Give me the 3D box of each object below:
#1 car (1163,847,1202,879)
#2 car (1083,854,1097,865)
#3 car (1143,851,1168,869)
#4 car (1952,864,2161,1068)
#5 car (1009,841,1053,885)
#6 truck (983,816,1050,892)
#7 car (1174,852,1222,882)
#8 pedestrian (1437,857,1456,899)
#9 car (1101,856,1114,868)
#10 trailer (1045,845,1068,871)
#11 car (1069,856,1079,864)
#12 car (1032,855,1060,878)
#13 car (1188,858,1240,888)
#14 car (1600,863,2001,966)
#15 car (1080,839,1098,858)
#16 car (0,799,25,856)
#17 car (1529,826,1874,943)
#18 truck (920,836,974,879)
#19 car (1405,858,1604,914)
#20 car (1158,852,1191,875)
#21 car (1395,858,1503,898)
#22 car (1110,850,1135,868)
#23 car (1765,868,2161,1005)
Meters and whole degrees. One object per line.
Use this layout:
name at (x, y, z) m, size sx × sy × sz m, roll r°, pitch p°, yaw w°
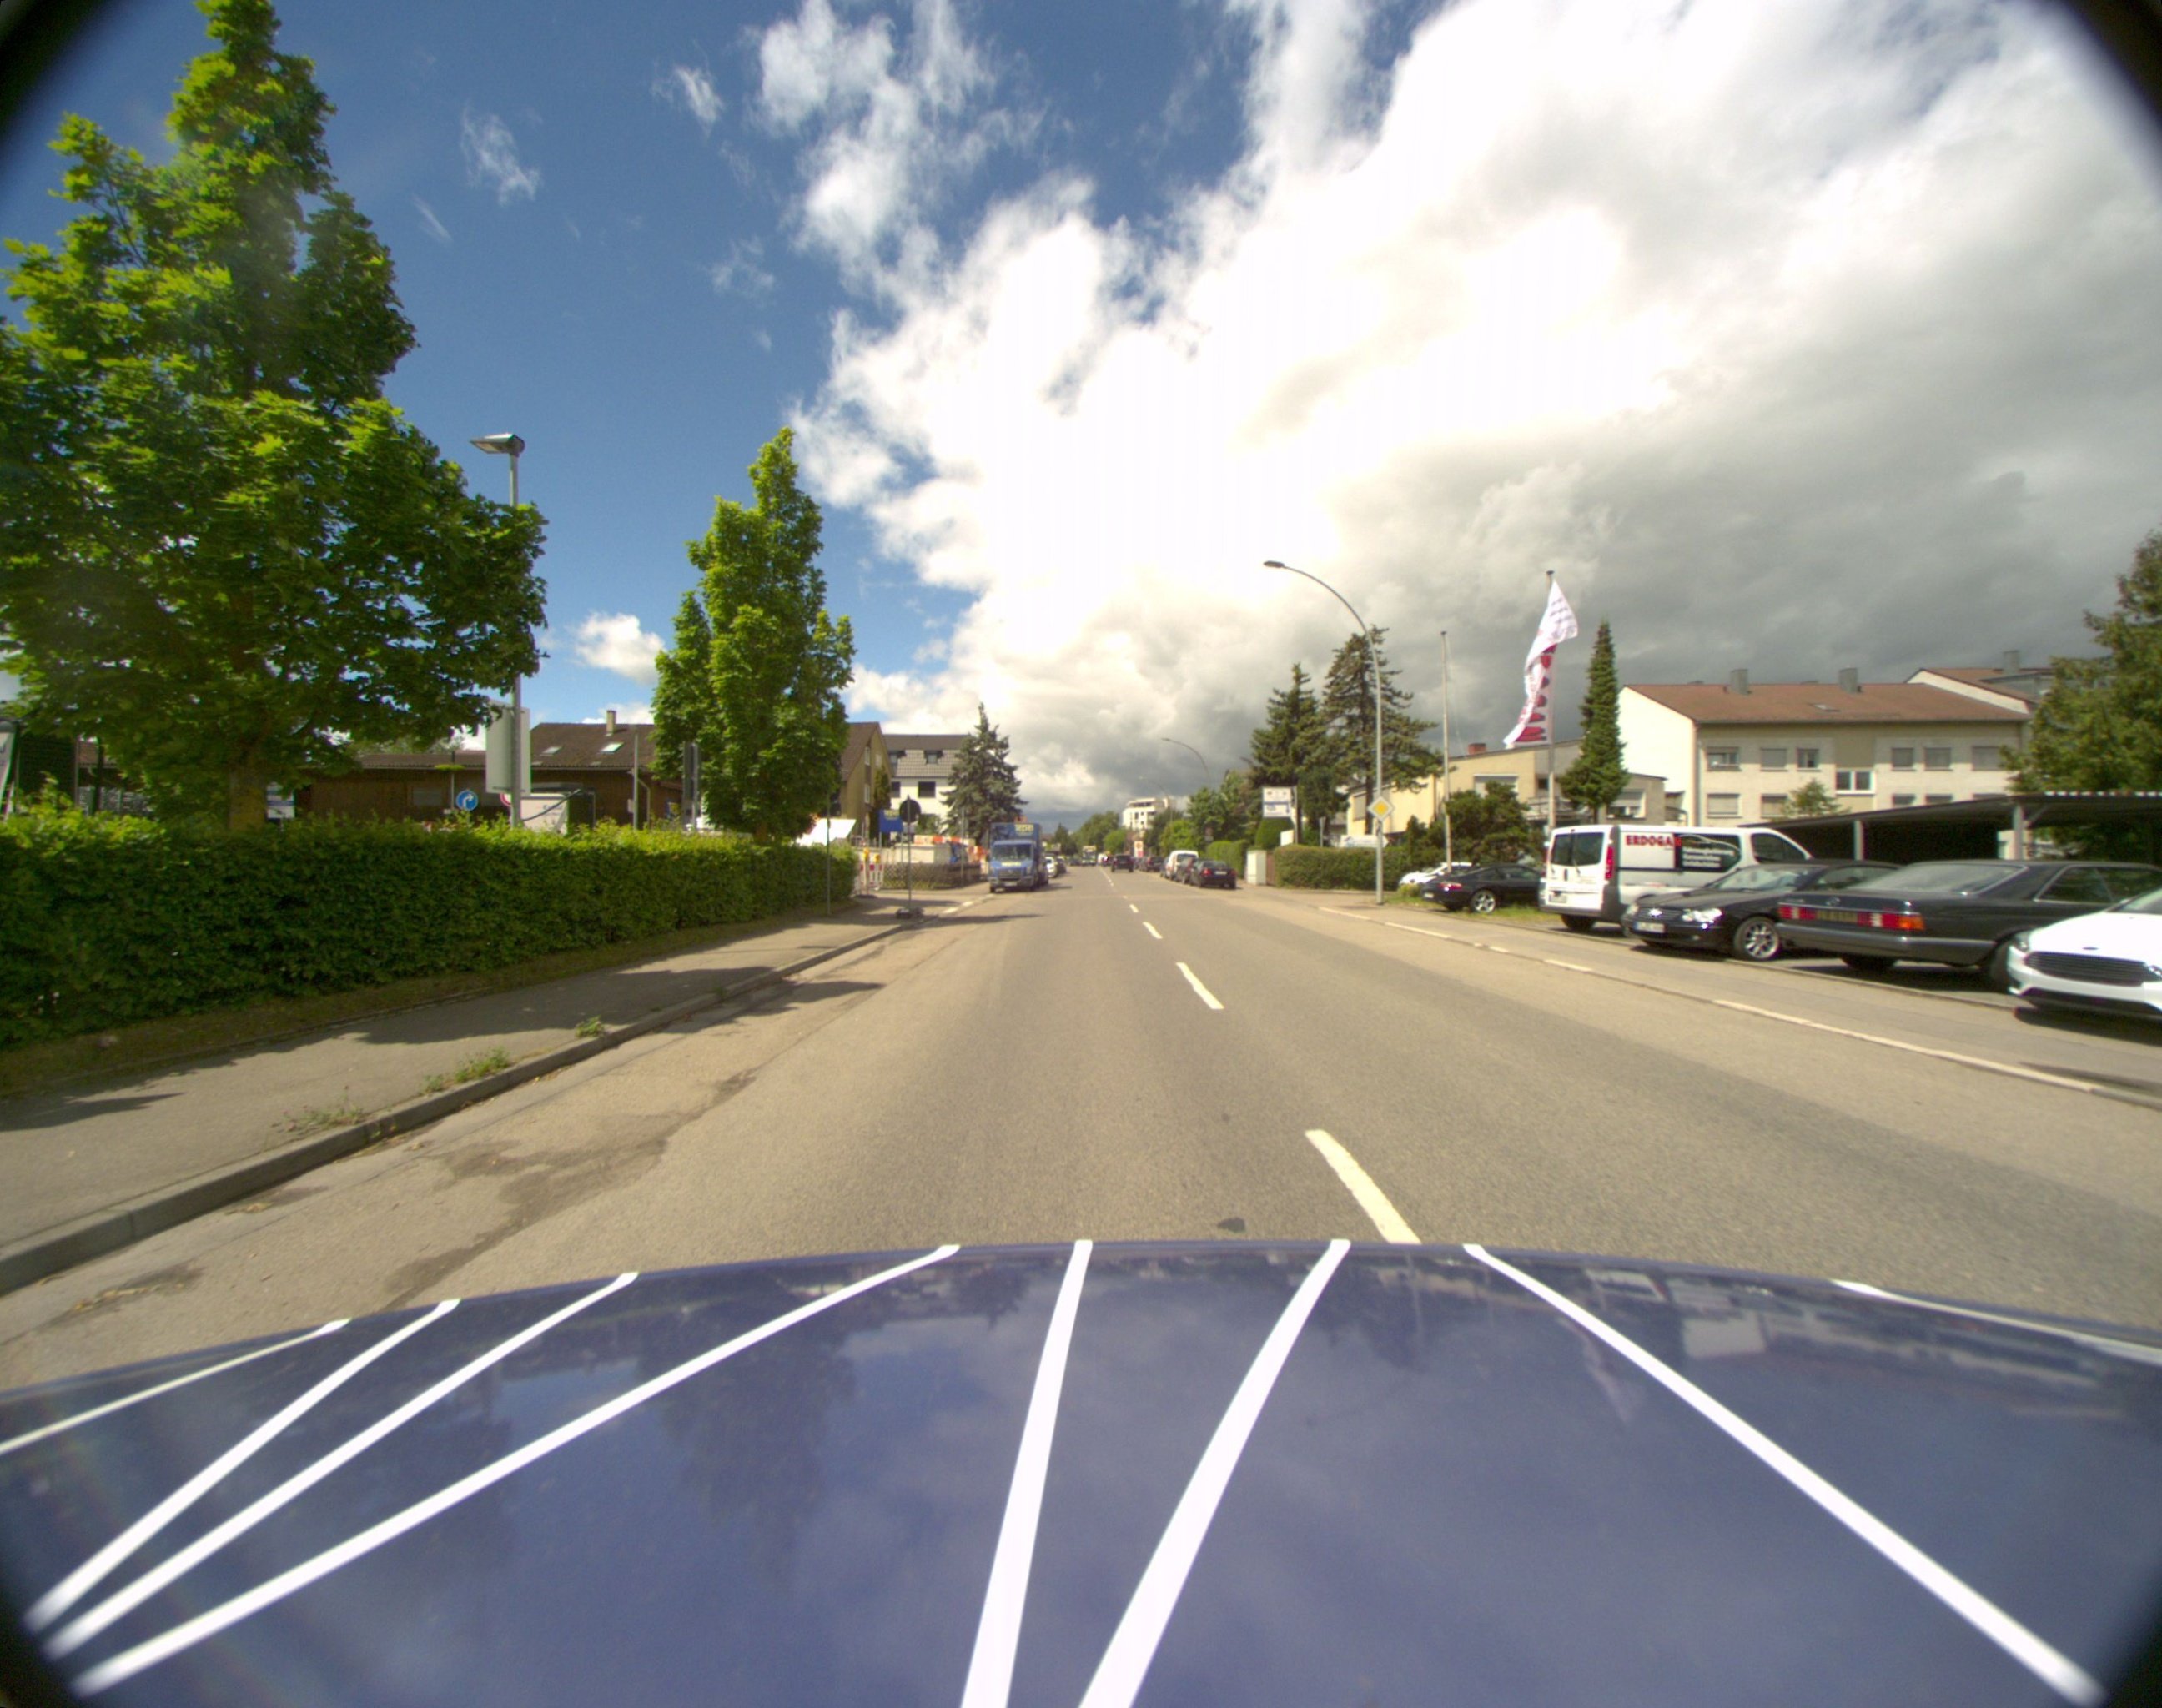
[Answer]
car at (6.193, 0.553, 46.804) m, size 1.748 × 1.827 × 4.355 m, roll 3°, pitch 0°, yaw -1°
car at (1.480, 0.840, 121.770) m, size 1.892 × 1.708 × 3.998 m, roll 1°, pitch 0°, yaw -4°
car at (6.697, 0.532, 68.582) m, size 1.724 × 1.484 × 4.735 m, roll 1°, pitch 0°, yaw -1°
car at (10.252, 0.844, 6.056) m, size 4.385 × 1.470 × 1.871 m, roll 0°, pitch 1°, yaw 1°
car at (-2.584, 0.474, 40.509) m, size 1.878 × 2.156 × 4.465 m, roll -2°, pitch 0°, yaw 1°
truck at (-2.803, 0.015, 34.696) m, size 2.326 × 3.079 × 6.043 m, roll -2°, pitch 0°, yaw 1°
car at (6.273, 0.694, 41.257) m, size 1.748 × 1.463 × 4.644 m, roll 3°, pitch 0°, yaw -1°
pedestrian at (15.498, 1.017, 32.211) m, size 0.630 × 1.724 × 0.685 m, roll 1°, pitch 2°, yaw 21°
car at (3.717, 1.159, 106.666) m, size 1.748 × 1.618 × 4.356 m, roll -1°, pitch 0°, yaw 0°
trailer at (-2.077, 0.375, 64.327) m, size 1.777 × 2.132 × 4.114 m, roll 0°, pitch 0°, yaw 0°
car at (-1.291, 1.232, 150.474) m, size 1.789 × 1.548 × 4.317 m, roll -1°, pitch 0°, yaw 1°
car at (-2.400, 0.866, 52.850) m, size 1.777 × 1.499 × 4.000 m, roll 0°, pitch 0°, yaw 0°
car at (6.330, 0.868, 36.564) m, size 1.635 × 1.296 × 4.116 m, roll 3°, pitch 0°, yaw -1°
car at (10.103, 0.805, 10.928) m, size 3.997 × 1.307 × 1.871 m, roll 0°, pitch 1°, yaw -1°
car at (1.520, -1.055, 152.126) m, size 3.263 × 3.595 × 10.270 m, roll -1°, pitch -1°, yaw -1°
car at (-31.722, -0.736, 20.136) m, size 1.750 × 1.575 × 4.001 m, roll -2°, pitch 0°, yaw 3°
car at (11.088, 0.511, 13.843) m, size 4.664 × 1.960 × 2.115 m, roll 0°, pitch 0°, yaw -3°
truck at (-7.143, 0.266, 41.060) m, size 1.834 × 2.069 × 5.386 m, roll 3°, pitch -1°, yaw 0°
car at (10.694, 0.784, 19.392) m, size 3.997 × 1.197 × 1.871 m, roll -2°, pitch 0°, yaw -1°
car at (6.440, 0.661, 52.693) m, size 1.644 × 1.478 × 4.000 m, roll 3°, pitch 0°, yaw -1°
car at (14.928, 0.956, 30.963) m, size 3.561 × 1.469 × 1.614 m, roll 2°, pitch 0°, yaw 2°
car at (3.740, 0.448, 68.429) m, size 1.998 × 1.606 × 4.411 m, roll 1°, pitch 0°, yaw 0°
car at (10.580, 0.846, 8.550) m, size 3.996 × 1.347 × 1.872 m, roll 0°, pitch 0°, yaw 3°
